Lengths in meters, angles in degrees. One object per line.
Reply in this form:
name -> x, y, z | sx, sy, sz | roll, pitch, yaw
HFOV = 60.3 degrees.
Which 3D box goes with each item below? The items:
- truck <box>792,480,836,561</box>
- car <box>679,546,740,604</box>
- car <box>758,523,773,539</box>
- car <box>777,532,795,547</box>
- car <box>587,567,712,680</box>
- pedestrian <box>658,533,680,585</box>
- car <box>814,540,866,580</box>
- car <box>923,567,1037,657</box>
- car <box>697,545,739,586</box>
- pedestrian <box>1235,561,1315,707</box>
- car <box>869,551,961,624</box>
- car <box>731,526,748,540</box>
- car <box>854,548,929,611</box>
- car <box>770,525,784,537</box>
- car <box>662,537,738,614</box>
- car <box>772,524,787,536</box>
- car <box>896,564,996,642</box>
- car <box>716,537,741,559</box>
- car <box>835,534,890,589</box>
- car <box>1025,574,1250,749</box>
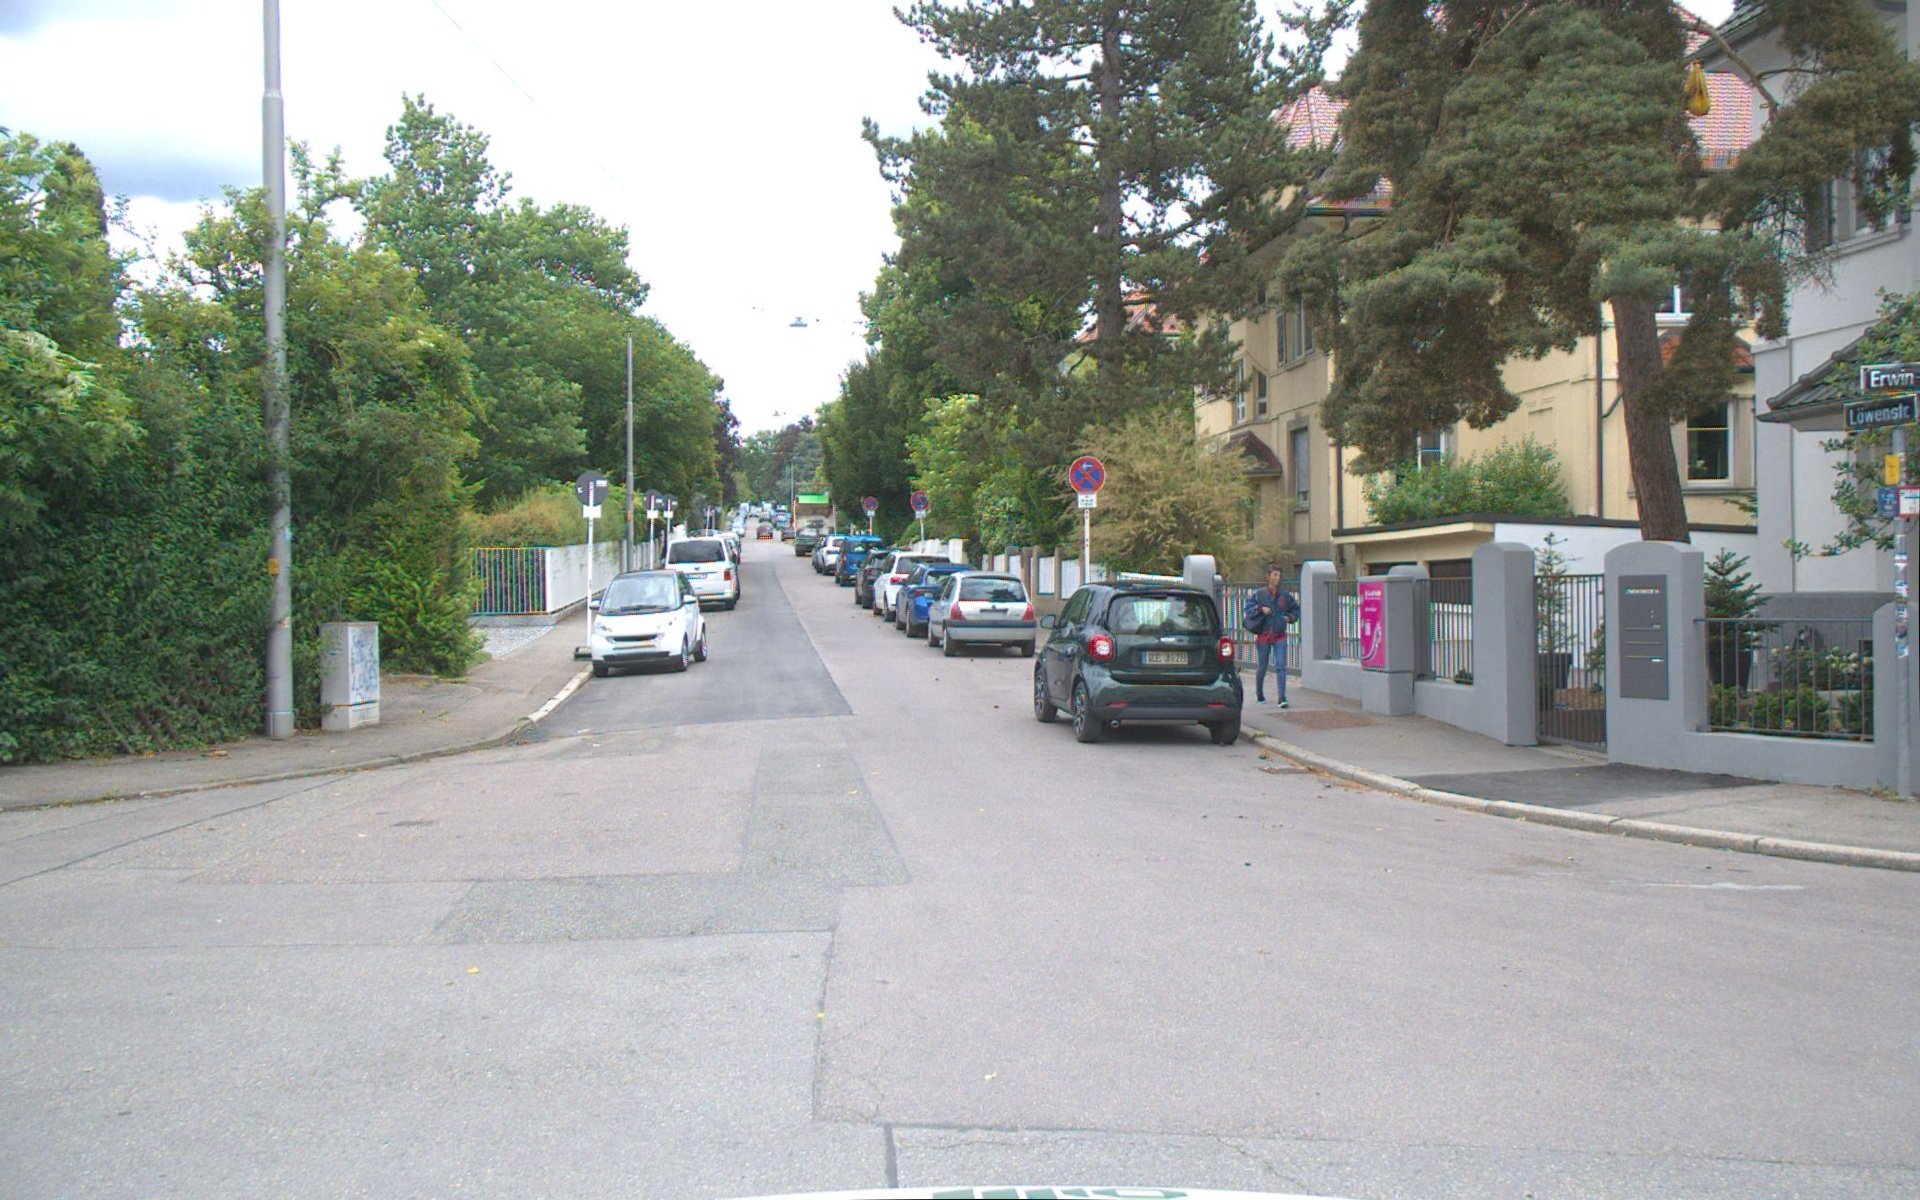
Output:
truck -> -9.036, -4.882, 101.973 | 2.476, 4.830, 7.179 | 0, 2, -7
car -> -7.893, -0.824, 51.996 | 1.758, 1.651, 4.334 | -2, 3, -9
car -> -21.115, -7.524, 179.687 | 1.603, 1.730, 3.489 | 0, 3, -8
car -> -18.030, -6.286, 171.046 | 1.745, 1.514, 3.994 | -1, 2, -8
car -> -4.953, 0.328, 26.649 | 1.413, 1.578, 2.770 | -3, 2, 0
pedestrian -> -11.687, -1.646, 66.514 | 0.796, 2.048, 0.859 | 0, 2, -7
car -> -5.202, -1.767, 71.507 | 1.726, 1.633, 4.564 | 0, 2, -11
car -> 0.299, 0.173, 29.535 | 1.544, 1.424, 3.651 | 1, 2, -7
car -> -10.262, -1.483, 70.020 | 1.593, 1.559, 2.956 | -3, 3, -10
pedestrian -> 3.619, 0.376, 19.055 | 0.667, 1.604, 0.906 | -3, 0, -1
car -> -1.171, -0.361, 40.805 | 1.752, 1.631, 4.297 | 1, 2, -9
car -> -25.287, -7.712, 189.859 | 1.678, 1.613, 3.997 | 0, 2, -5
car -> -1.957, -0.606, 46.325 | 1.717, 1.636, 4.069 | 1, 2, -7
car -> -24.669, -9.337, 222.850 | 1.755, 1.555, 3.730 | 0, 3, -6
car -> -7.162, -0.731, 45.908 | 1.819, 1.946, 4.613 | -3, 2, -7
car -> -23.403, -9.038, 214.044 | 1.776, 1.358, 3.627 | 1, 4, -8
car -> -0.345, 0.027, 34.476 | 1.616, 1.483, 4.046 | 1, 1, -7
car -> -16.031, -3.620, 114.401 | 1.606, 1.419, 3.982 | -3, 3, -8
car -> -3.610, -1.442, 60.833 | 1.651, 1.860, 4.151 | 1, 3, -8
car -> 1.750, 0.574, 17.108 | 1.543, 1.558, 2.862 | 2, 2, -10
